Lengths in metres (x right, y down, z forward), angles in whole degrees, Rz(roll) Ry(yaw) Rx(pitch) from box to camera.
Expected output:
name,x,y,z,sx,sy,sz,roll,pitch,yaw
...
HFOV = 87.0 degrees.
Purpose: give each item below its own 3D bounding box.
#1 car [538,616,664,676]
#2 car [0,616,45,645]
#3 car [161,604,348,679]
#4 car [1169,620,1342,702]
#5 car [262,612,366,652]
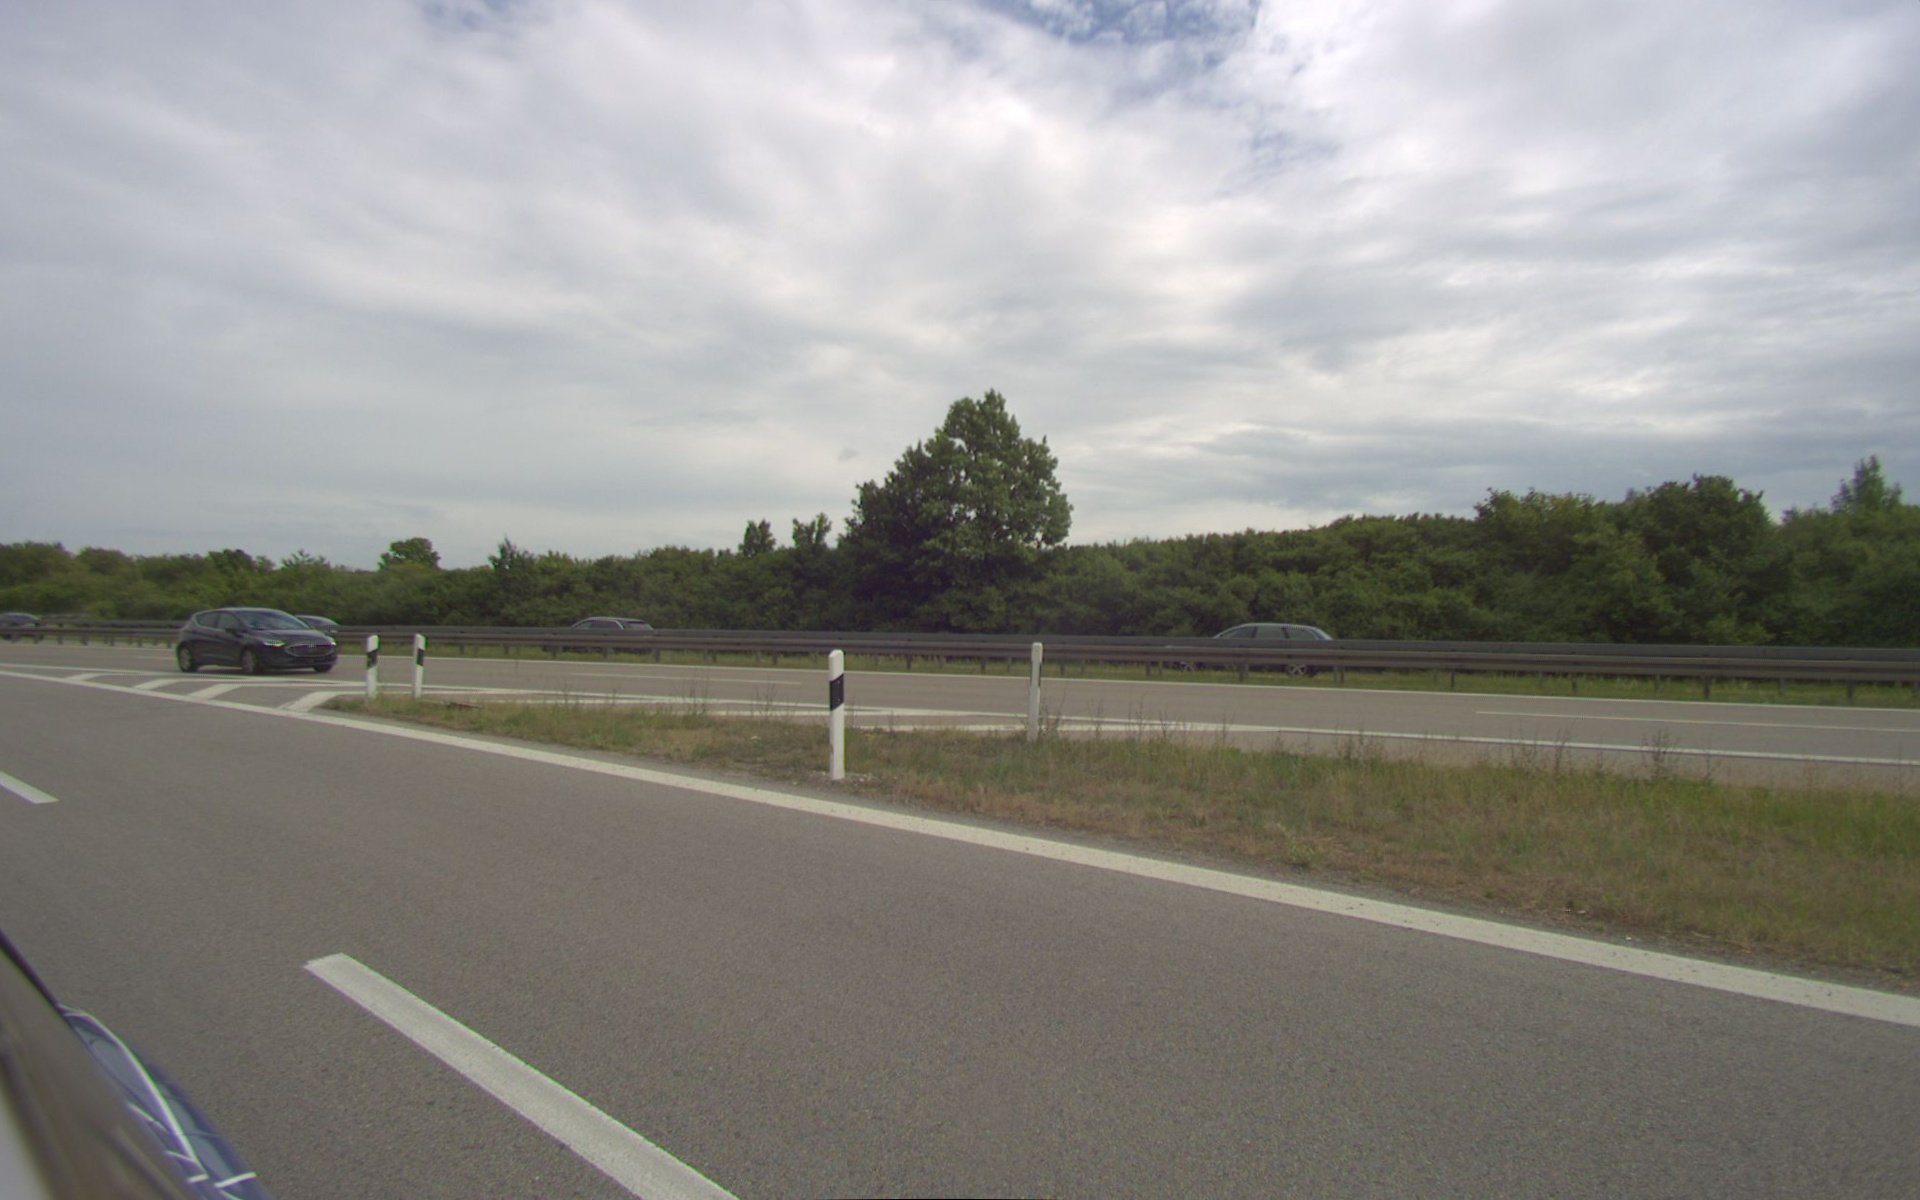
name,x,y,z,sx,sy,sz,roll,pitch,yaw
car,-12.892,1.587,36.337,4.196,2.029,1.914,0,-1,27
car,-58.181,1.847,61.720,4.539,1.674,1.982,0,-2,26
car,-15.913,0.899,22.818,3.977,1.567,1.701,0,-1,25
car,7.890,1.565,27.086,4.196,2.029,1.914,0,-1,27
car,-28.201,1.366,44.194,3.976,1.697,1.984,0,-1,24
